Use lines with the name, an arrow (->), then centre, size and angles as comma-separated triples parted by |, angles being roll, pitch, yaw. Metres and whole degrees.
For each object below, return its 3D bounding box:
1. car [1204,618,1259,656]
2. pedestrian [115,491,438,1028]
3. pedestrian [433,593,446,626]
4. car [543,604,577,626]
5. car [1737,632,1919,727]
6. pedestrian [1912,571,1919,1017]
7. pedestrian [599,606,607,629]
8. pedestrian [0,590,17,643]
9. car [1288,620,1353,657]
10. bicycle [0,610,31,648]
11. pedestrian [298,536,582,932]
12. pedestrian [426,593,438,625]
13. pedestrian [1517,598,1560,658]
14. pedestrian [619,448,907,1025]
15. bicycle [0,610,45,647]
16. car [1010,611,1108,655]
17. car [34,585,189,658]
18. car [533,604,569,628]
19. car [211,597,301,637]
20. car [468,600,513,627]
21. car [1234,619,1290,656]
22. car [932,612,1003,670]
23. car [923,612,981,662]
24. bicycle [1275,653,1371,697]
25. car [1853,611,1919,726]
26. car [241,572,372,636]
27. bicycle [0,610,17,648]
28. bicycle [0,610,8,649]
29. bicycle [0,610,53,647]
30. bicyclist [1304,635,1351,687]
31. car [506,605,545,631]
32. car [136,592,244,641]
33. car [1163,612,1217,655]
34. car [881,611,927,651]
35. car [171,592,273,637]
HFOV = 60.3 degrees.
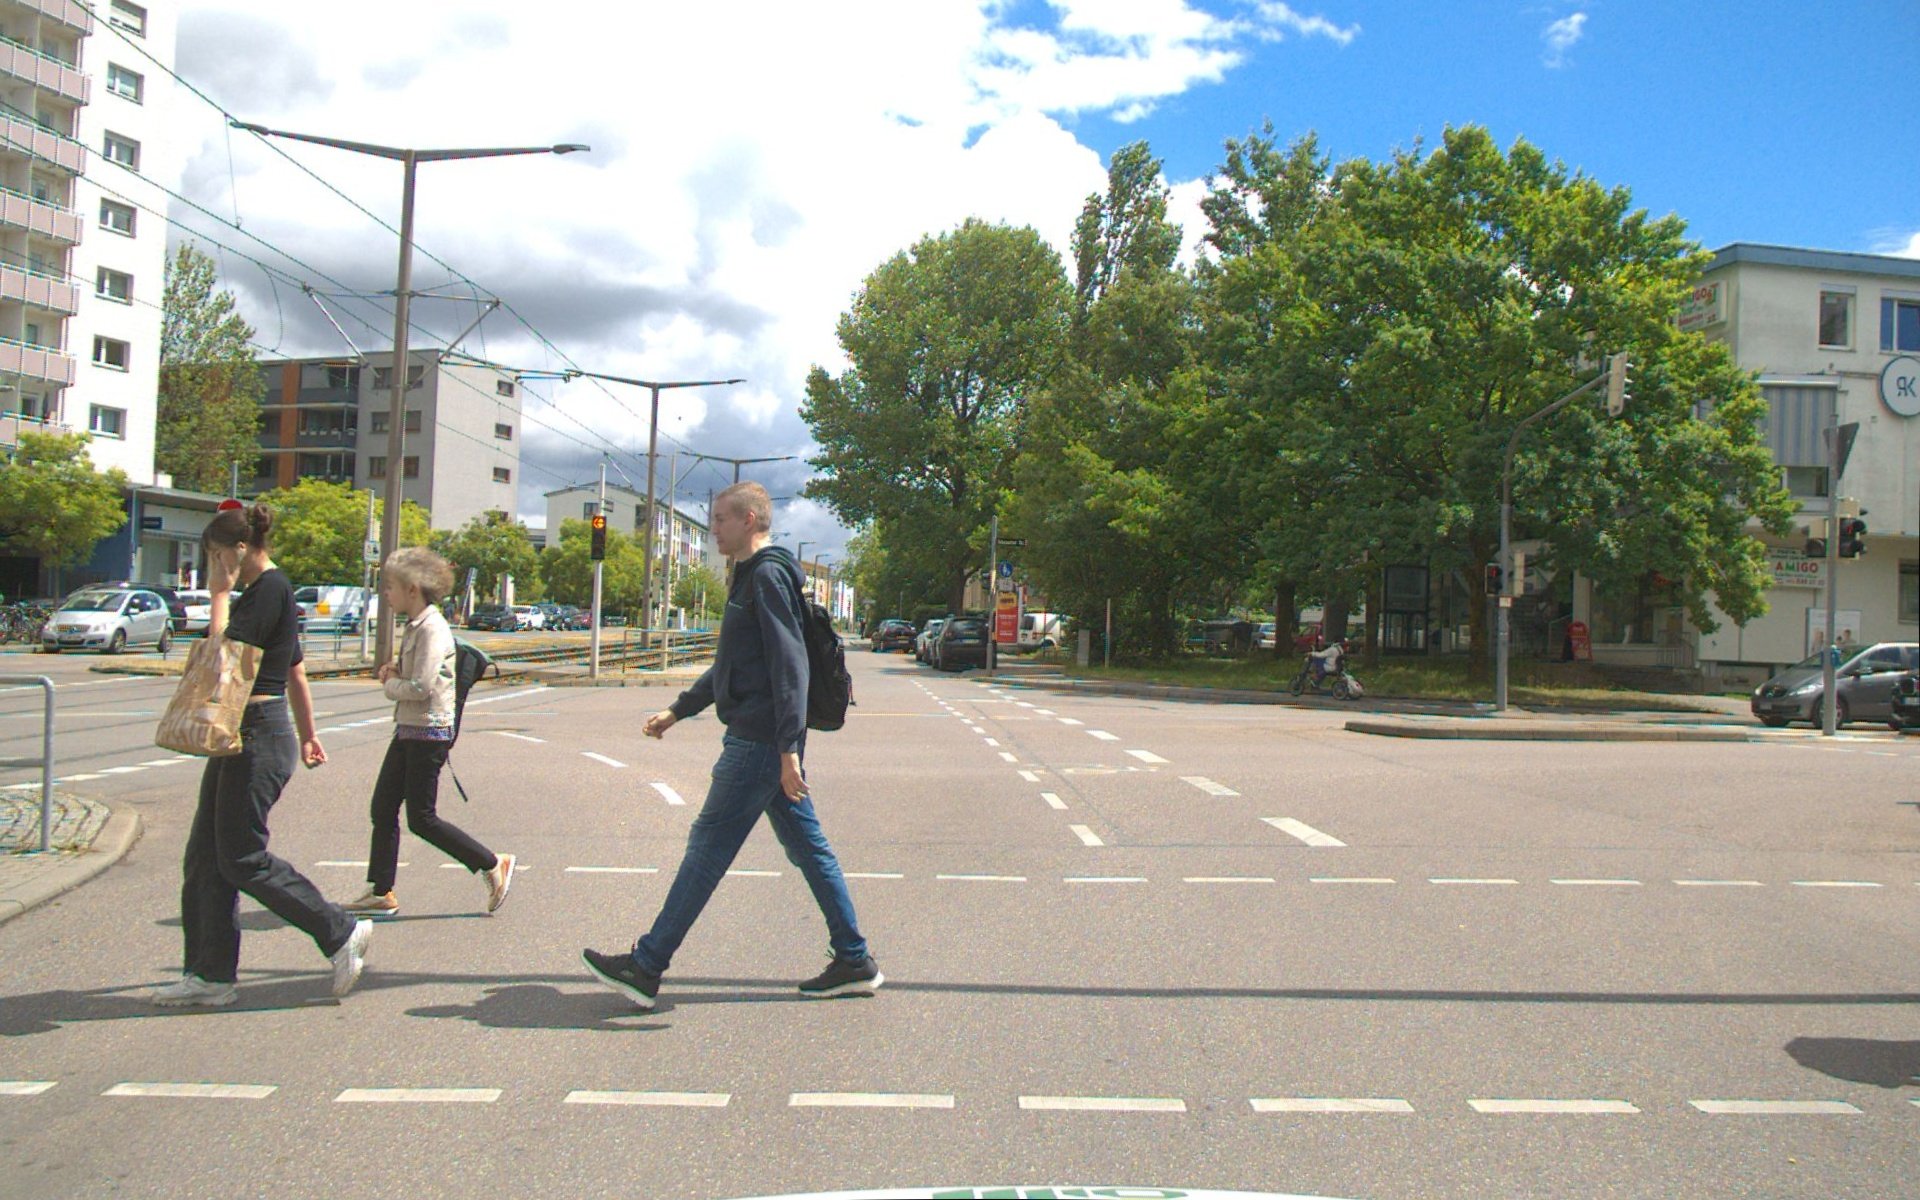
car -> 12.325, 1.653, 75.345 | 1.598, 1.600, 4.029 | 1, 0, -4
pedestrian -> -2.439, 0.541, 6.017 | 0.917, 1.796, 0.770 | 1, 0, -12
pedestrian -> -27.843, 0.515, 88.534 | 0.537, 1.746, 0.667 | 1, 0, -11
car -> -26.391, 0.975, 109.224 | 1.728, 1.419, 3.993 | 1, 0, -7
car -> 16.462, 1.431, 30.028 | 3.838, 1.583, 1.994 | 1, 0, -12
pedestrian -> 3.912, 0.587, 5.651 | 0.851, 1.839, 0.741 | 1, 0, -5
pedestrian -> -26.813, 1.322, 124.150 | 0.443, 1.665, 0.480 | 1, 0, 4
pedestrian -> -30.250, 0.505, 52.103 | 0.754, 1.643, 0.695 | 1, 0, -15
car -> 16.804, 1.769, 77.252 | 1.698, 1.623, 3.993 | 1, 0, -8
bicycle -> -24.862, 0.729, 42.262 | 1.910, 0.951, 0.494 | 1, -1, -7
pedestrian -> -2.378, 0.576, 7.651 | 0.932, 1.703, 0.871 | 0, 0, 14
pedestrian -> -28.720, 0.491, 90.039 | 0.537, 1.746, 0.404 | 1, 0, -11
pedestrian -> 16.603, 0.792, 47.469 | 0.755, 1.672, 0.904 | 2, 0, -15
pedestrian -> -0.714, 0.476, 6.160 | 0.947, 1.976, 0.896 | 1, 0, -5
bicycle -> -24.813, 0.733, 42.804 | 1.910, 0.951, 0.494 | 1, -1, -7
car -> 4.388, 1.469, 73.371 | 3.933, 1.855, 1.766 | 1, 0, -24
car -> -21.260, 0.516, 41.620 | 1.898, 1.723, 3.872 | 1, 0, -1
car -> -25.831, 1.005, 104.668 | 1.728, 1.419, 3.993 | 1, 0, -7
car -> -27.299, 0.654, 64.057 | 4.147, 1.445, 1.777 | 1, 0, 45
car -> -25.716, 0.706, 90.696 | 1.728, 1.419, 3.993 | 1, 0, -7
car -> 13.980, 1.719, 76.774 | 1.598, 1.623, 3.997 | 1, 0, -4
car -> 0.203, 1.260, 51.786 | 2.108, 1.713, 3.999 | 1, -1, -1
car -> -0.302, 1.327, 59.224 | 1.953, 1.713, 3.999 | 1, -1, -1
bicycle -> 7.540, 1.549, 34.388 | 1.775, 0.833, 0.789 | 1, 0, 42
car -> 16.848, 1.101, 26.177 | 4.472, 1.747, 1.997 | 1, 0, -8
car -> -27.329, 0.130, 69.023 | 2.811, 2.522, 6.614 | 1, 0, -44
bicycle -> -24.898, 0.725, 41.671 | 1.910, 0.951, 0.494 | 1, -1, -7
bicycle -> -24.852, 0.722, 41.196 | 1.910, 0.951, 0.494 | 1, -1, -7
bicycle -> -24.864, 0.736, 43.293 | 1.910, 0.951, 0.494 | 1, -1, -7
bicyclist -> 7.621, 1.256, 34.295 | 0.624, 1.040, 0.789 | 1, -1, 41
car -> -25.730, 1.056, 98.046 | 1.728, 1.419, 3.993 | 1, 0, -7
car -> -26.791, 0.551, 57.509 | 4.143, 1.597, 1.949 | 1, 0, 43
car -> 10.349, 1.484, 74.576 | 1.598, 1.842, 4.029 | 1, 0, -4
car -> -2.509, 1.361, 74.471 | 1.953, 1.713, 3.999 | 1, 0, -1
car -> -27.144, 0.525, 60.785 | 4.143, 1.564, 1.949 | 1, 0, 43
